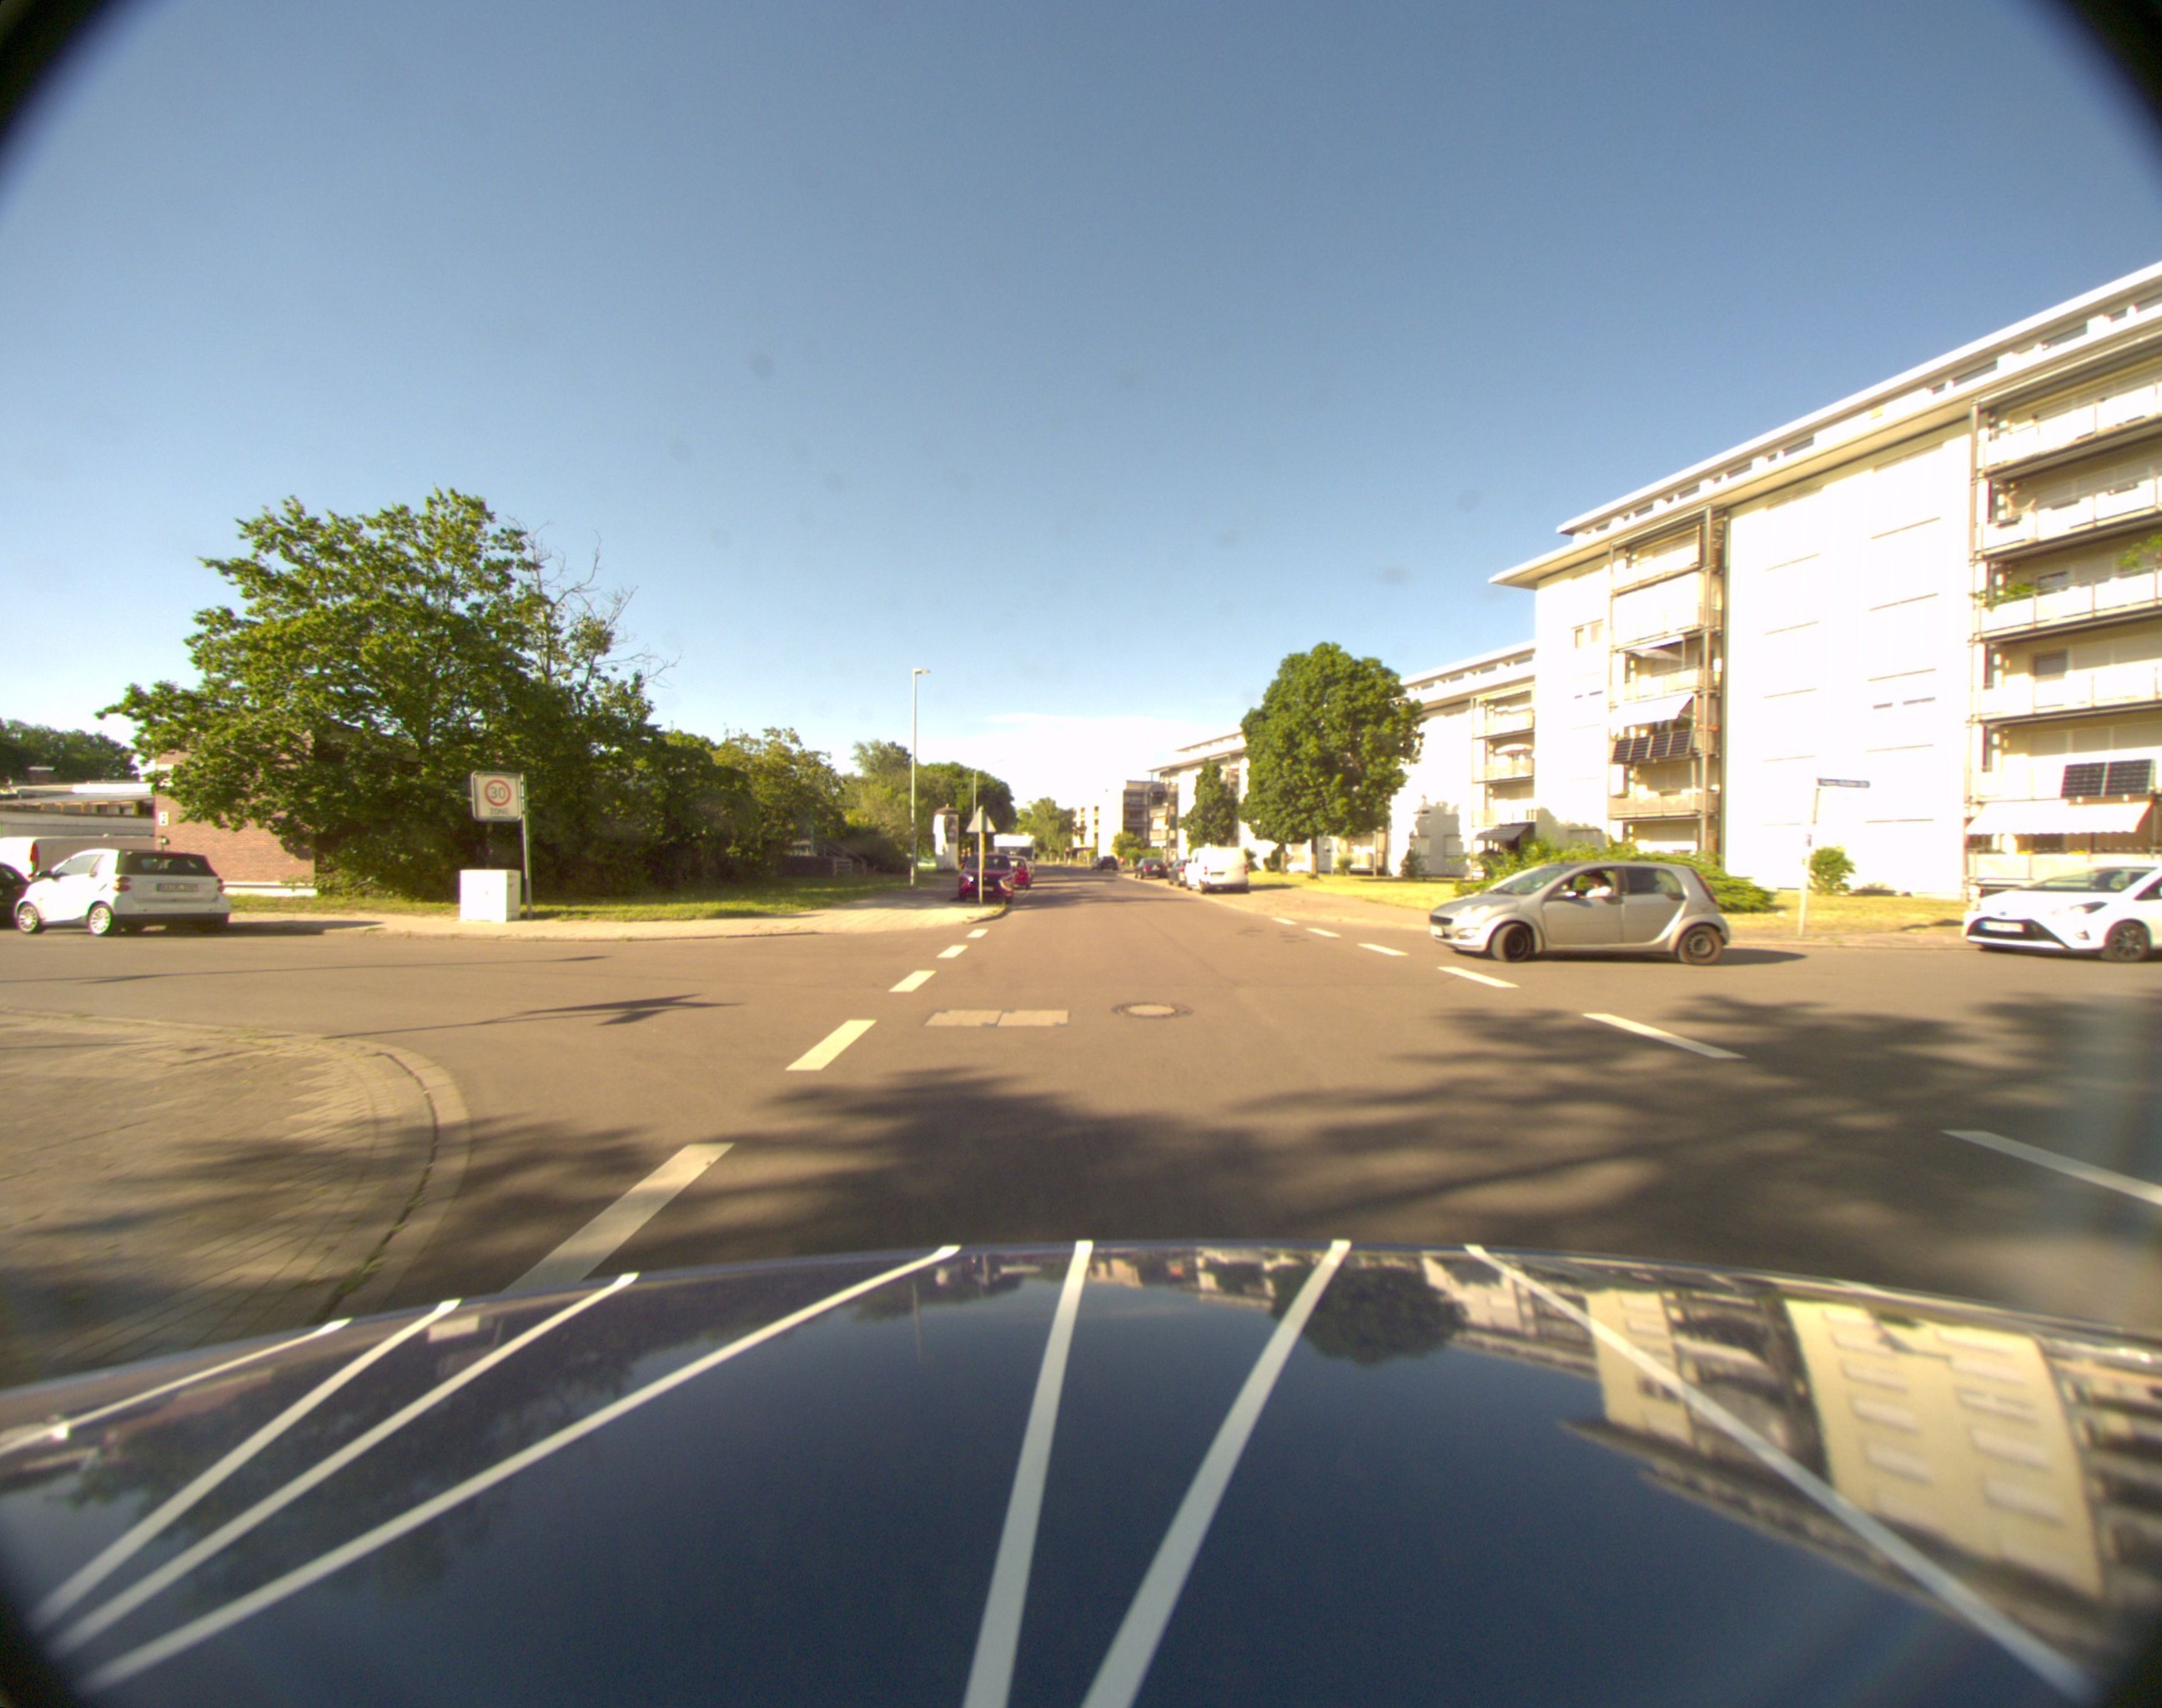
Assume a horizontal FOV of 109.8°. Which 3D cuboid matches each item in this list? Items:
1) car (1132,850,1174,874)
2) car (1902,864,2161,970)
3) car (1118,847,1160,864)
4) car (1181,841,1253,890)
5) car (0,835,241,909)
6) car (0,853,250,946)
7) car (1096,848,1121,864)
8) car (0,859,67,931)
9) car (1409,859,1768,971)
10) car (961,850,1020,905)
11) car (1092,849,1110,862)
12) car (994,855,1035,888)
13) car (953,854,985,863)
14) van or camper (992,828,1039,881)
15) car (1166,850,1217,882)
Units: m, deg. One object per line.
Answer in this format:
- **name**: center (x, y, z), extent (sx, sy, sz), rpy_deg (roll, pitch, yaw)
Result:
- **car**: center (4.832, 0.500, 51.814), extent (2.040, 1.484, 5.254), rpy_deg (-2, 0, -3)
- **car**: center (15.881, 0.926, 11.740), extent (3.996, 1.455, 2.044), rpy_deg (1, 0, 4)
- **car**: center (8.739, 0.294, 114.915), extent (5.924, 2.414, 2.212), rpy_deg (1, -1, -8)
- **car**: center (5.693, 0.439, 32.515), extent (2.020, 1.875, 5.189), rpy_deg (-1, 1, -2)
- **car**: center (-26.638, 0.442, 21.182), extent (1.696, 1.858, 4.004), rpy_deg (0, 0, 13)
- **car**: center (-17.572, 0.815, 13.988), extent (2.959, 1.553, 1.703), rpy_deg (0, -3, 11)
- **car**: center (2.924, 0.176, 80.531), extent (1.920, 1.594, 4.808), rpy_deg (1, 0, -7)
- **car**: center (-23.439, 0.807, 15.228), extent (4.491, 1.402, 1.970), rpy_deg (0, 0, 11)
- **car**: center (7.238, 0.818, 11.251), extent (3.936, 1.452, 1.999), rpy_deg (0, 0, 5)
- **car**: center (-3.088, 0.751, 26.746), extent (1.780, 1.670, 4.643), rpy_deg (3, 0, -4)
- **car**: center (2.250, 0.149, 86.784), extent (1.651, 1.458, 4.328), rpy_deg (0, 0, -5)
- **car**: center (-3.096, 0.789, 35.962), extent (1.696, 1.465, 3.999), rpy_deg (1, 0, -2)
- **car**: center (-16.519, 0.706, 112.191), extent (4.437, 1.329, 1.746), rpy_deg (0, -1, -3)
- **van or camper**: center (-3.792, 0.037, 44.779), extent (2.503, 2.828, 6.849), rpy_deg (1, 0, -3)
- **car**: center (5.590, 0.578, 38.909), extent (1.838, 1.509, 4.220), rpy_deg (-1, 1, -2)
